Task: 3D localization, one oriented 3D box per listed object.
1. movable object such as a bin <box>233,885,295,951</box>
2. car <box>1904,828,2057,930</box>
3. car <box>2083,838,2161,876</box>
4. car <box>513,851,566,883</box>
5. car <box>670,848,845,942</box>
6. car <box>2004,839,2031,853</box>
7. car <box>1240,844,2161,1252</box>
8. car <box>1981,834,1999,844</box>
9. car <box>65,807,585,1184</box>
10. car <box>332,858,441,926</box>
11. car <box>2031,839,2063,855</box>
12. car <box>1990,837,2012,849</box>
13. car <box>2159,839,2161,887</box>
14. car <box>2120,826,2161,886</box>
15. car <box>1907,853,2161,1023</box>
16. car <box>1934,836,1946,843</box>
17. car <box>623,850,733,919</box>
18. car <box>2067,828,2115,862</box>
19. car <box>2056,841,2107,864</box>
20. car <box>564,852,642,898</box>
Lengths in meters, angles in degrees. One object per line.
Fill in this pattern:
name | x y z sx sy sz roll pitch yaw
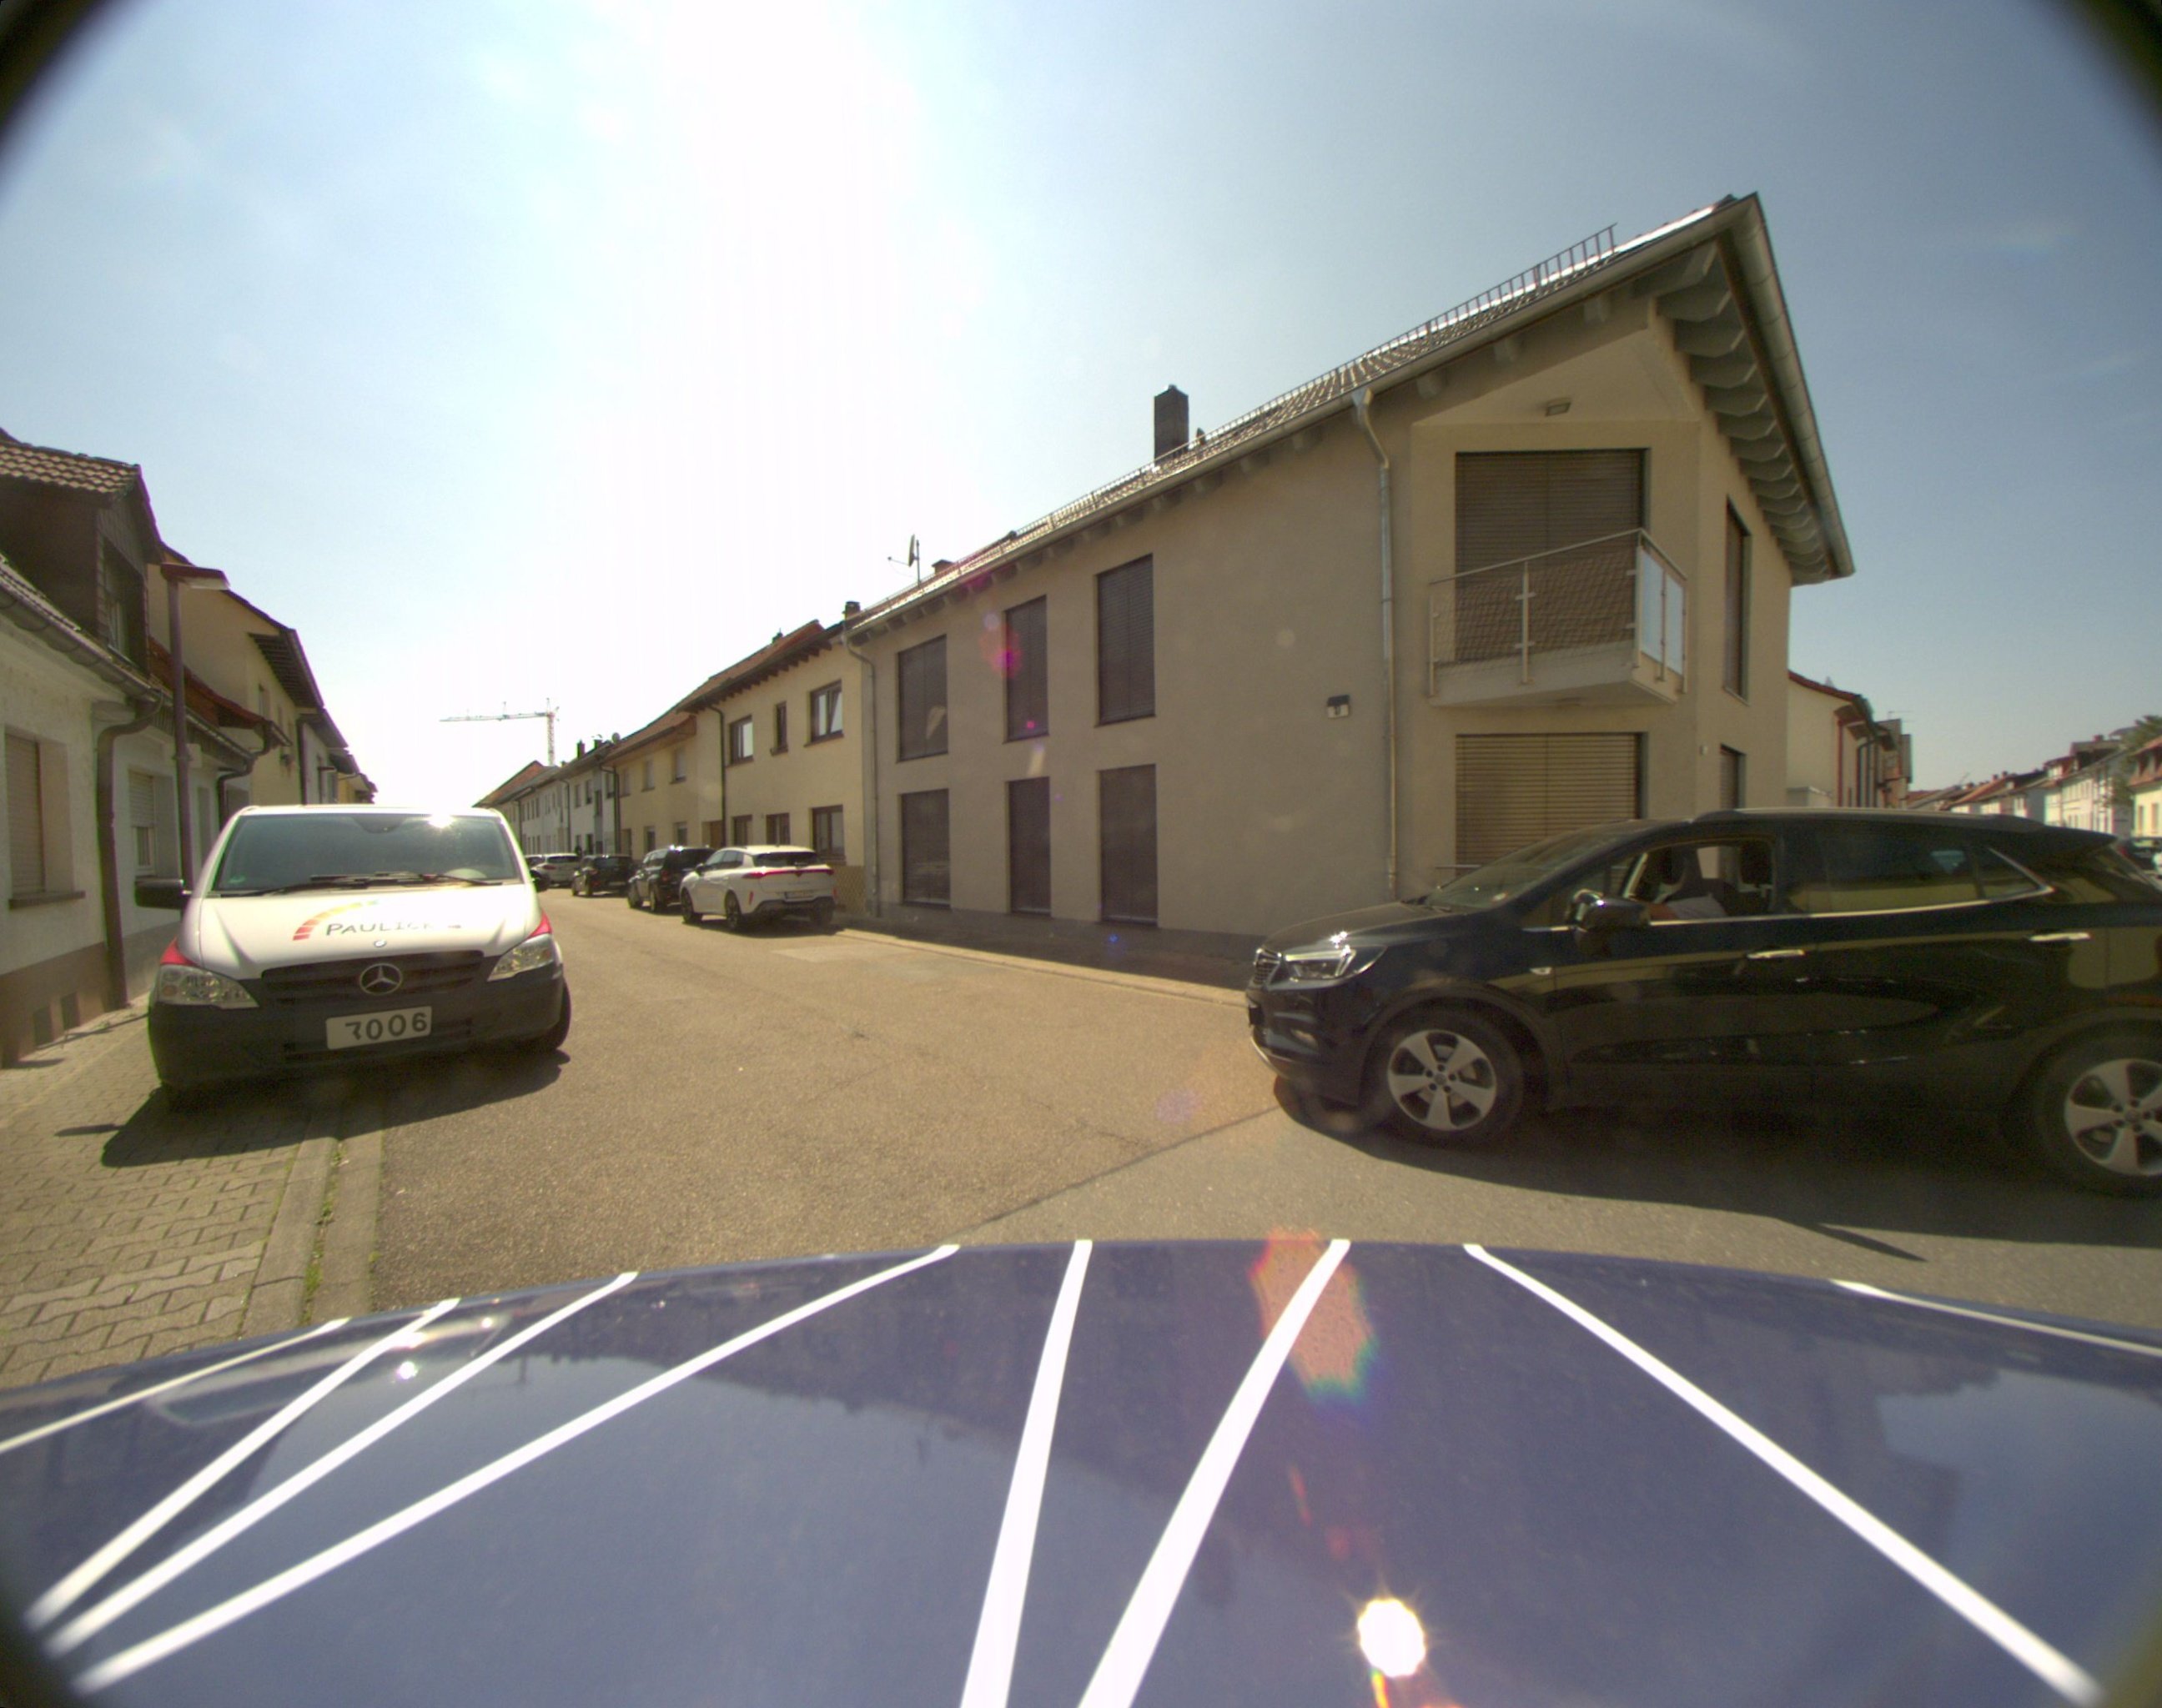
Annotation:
movable object such as a bin | -14.431 1.112 13.439 0.662 1.065 0.810 -2 2 -43
car | 17.295 0.386 14.775 3.794 1.720 1.680 -1 2 -43
car | 45.285 0.085 33.044 4.117 1.565 1.673 -1 2 -42
car | -28.316 0.641 39.683 1.671 1.533 3.677 -4 3 -43
car | -6.566 0.688 15.175 1.783 1.606 4.336 0 1 -44
car | 80.562 -0.741 65.360 2.969 1.177 1.292 -1 2 -42
car | 3.047 0.750 4.007 4.274 1.574 1.764 0 0 10
car | 108.800 -1.790 90.946 2.969 1.177 1.292 -1 2 -42
car | -5.808 0.637 6.288 2.023 1.828 5.250 -3 2 -42
car | -17.936 0.872 19.644 1.848 1.440 4.762 -3 2 -43
car | 72.639 -0.535 57.159 2.969 1.177 1.292 -1 2 -42
car | 91.796 -1.088 75.823 2.969 1.177 1.292 -1 2 -42
car | 32.891 0.306 21.793 4.223 1.493 1.720 -1 2 -42
car | 39.185 0.023 27.005 1.994 2.003 4.007 1 3 44
car | 10.288 0.733 8.314 3.935 1.360 1.635 -2 0 -42
car | 142.179 -2.410 125.757 2.969 1.177 1.292 -1 2 -42
car | -10.587 0.698 19.828 1.731 1.606 3.977 0 1 -40
car | 56.420 -0.497 42.473 2.969 1.821 1.292 -1 2 -42
car | 50.115 -0.090 38.093 2.770 1.070 1.292 -1 2 -42
car | -17.260 0.704 27.383 1.649 1.528 3.931 0 1 -43
